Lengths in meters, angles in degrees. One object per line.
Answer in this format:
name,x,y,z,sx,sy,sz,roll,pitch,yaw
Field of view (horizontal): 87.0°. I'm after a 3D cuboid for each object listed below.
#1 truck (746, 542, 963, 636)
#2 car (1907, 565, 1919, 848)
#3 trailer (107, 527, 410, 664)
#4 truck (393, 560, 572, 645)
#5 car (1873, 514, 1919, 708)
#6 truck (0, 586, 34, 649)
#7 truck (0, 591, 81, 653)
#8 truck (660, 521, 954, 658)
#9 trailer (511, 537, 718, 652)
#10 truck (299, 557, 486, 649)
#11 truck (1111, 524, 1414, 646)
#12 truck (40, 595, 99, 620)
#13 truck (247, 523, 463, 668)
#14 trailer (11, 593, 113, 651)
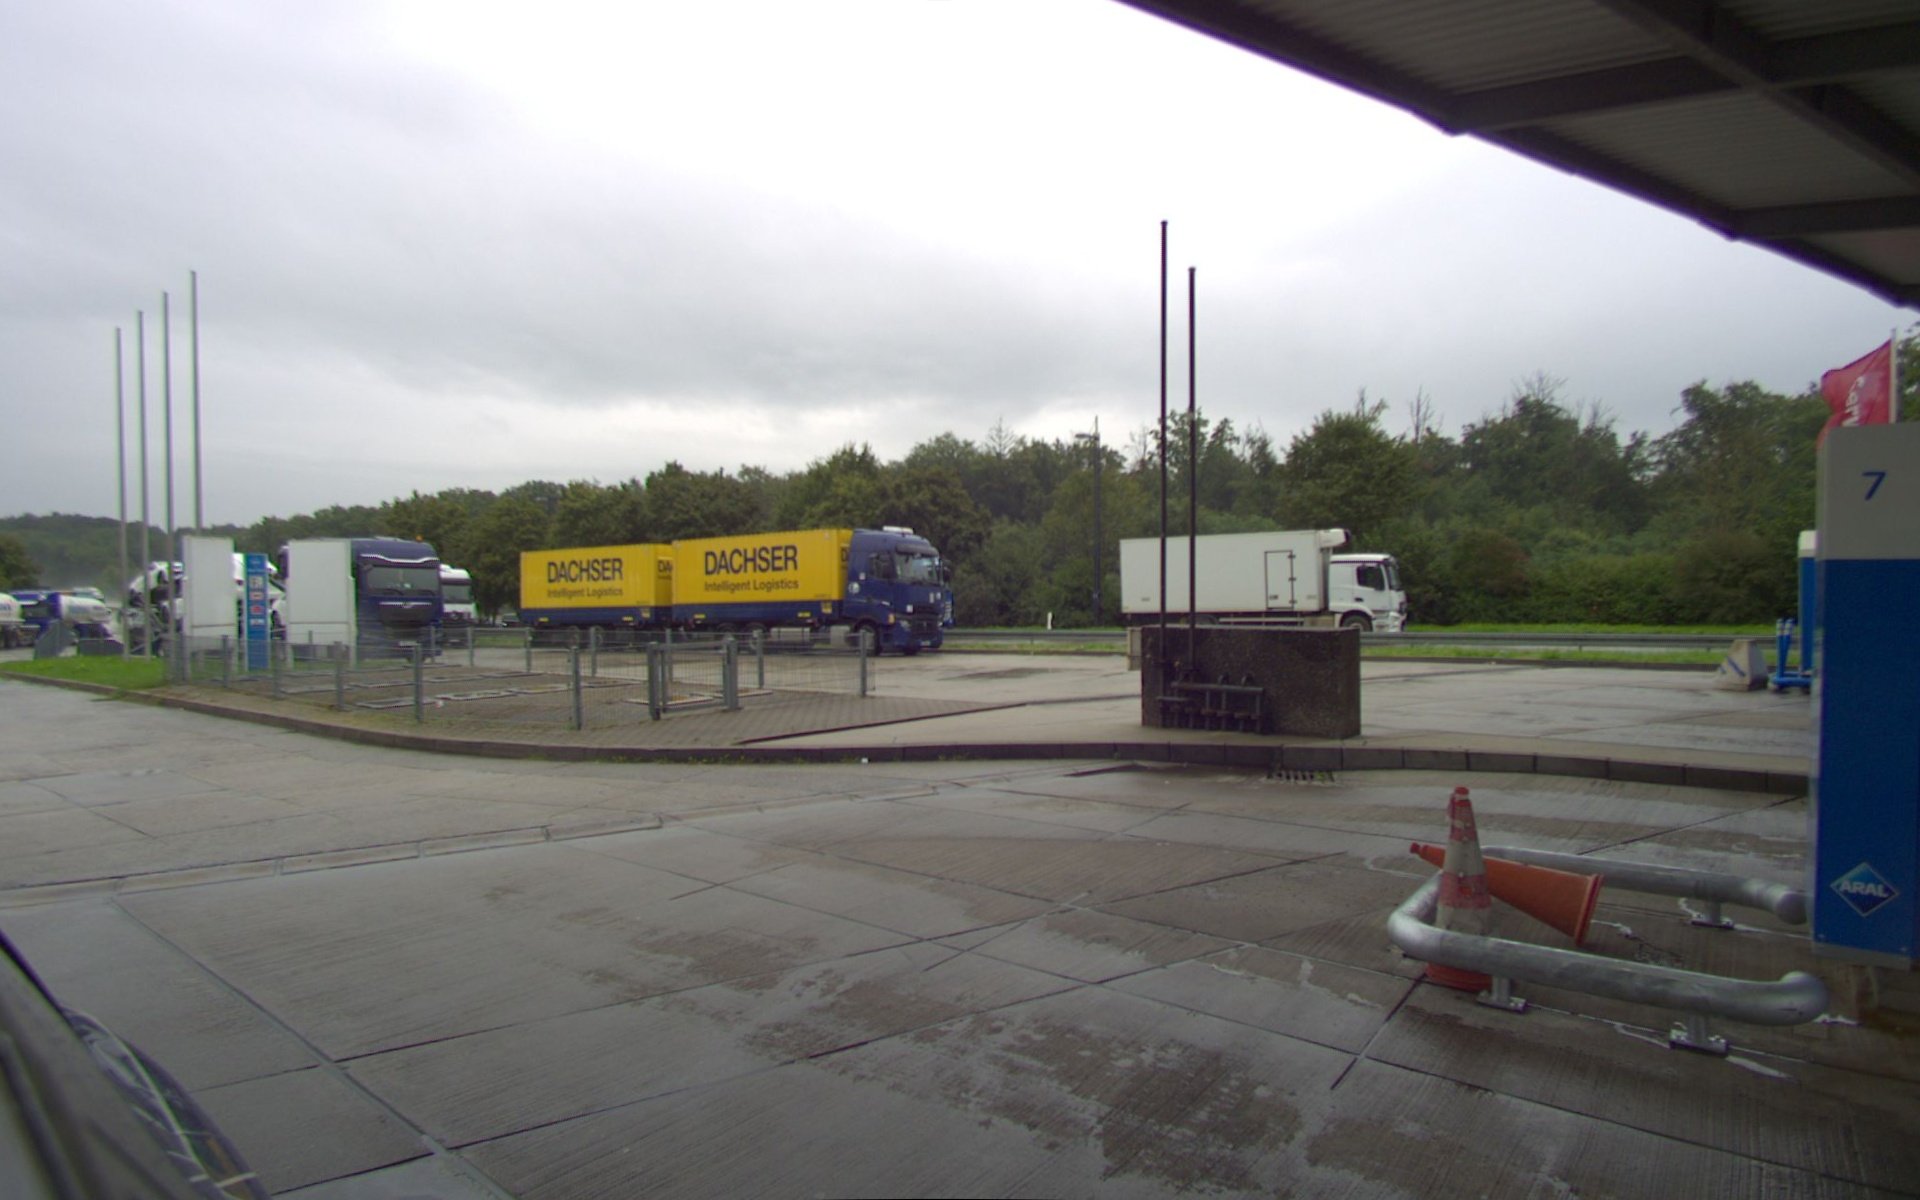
truck,-5.131,-0.426,47.682,10.433,4.063,2.961,-1,0,30
car,6.925,0.563,3.586,4.996,1.576,1.797,-1,0,37
trailer,-25.407,-0.053,35.917,16.563,4.063,2.957,-1,0,34
truck,-24.770,0.146,52.267,10.433,4.063,2.961,-1,0,30
car,14.900,0.117,12.396,5.272,2.482,2.298,-1,-2,37
truck,-55.548,1.022,55.010,3.196,3.591,12.013,-1,0,-19
truck,-59.414,1.375,64.989,3.000,3.795,6.486,-1,0,-27
truck,-5.381,-0.266,33.947,10.608,4.063,2.743,-1,0,33
trailer,-13.536,-0.161,39.281,8.833,4.063,2.743,-1,0,33
truck,-27.291,0.181,48.439,10.433,4.063,2.961,-1,0,30
truck,11.066,-0.442,37.702,10.433,4.063,2.961,-1,0,30
truck,-138.600,1.203,157.436,14.626,3.591,3.215,-1,-1,34
truck,-18.983,-0.110,31.614,7.244,4.063,2.957,-1,0,34
trailer,-62.259,1.438,70.475,2.854,3.666,10.605,-1,0,-28
